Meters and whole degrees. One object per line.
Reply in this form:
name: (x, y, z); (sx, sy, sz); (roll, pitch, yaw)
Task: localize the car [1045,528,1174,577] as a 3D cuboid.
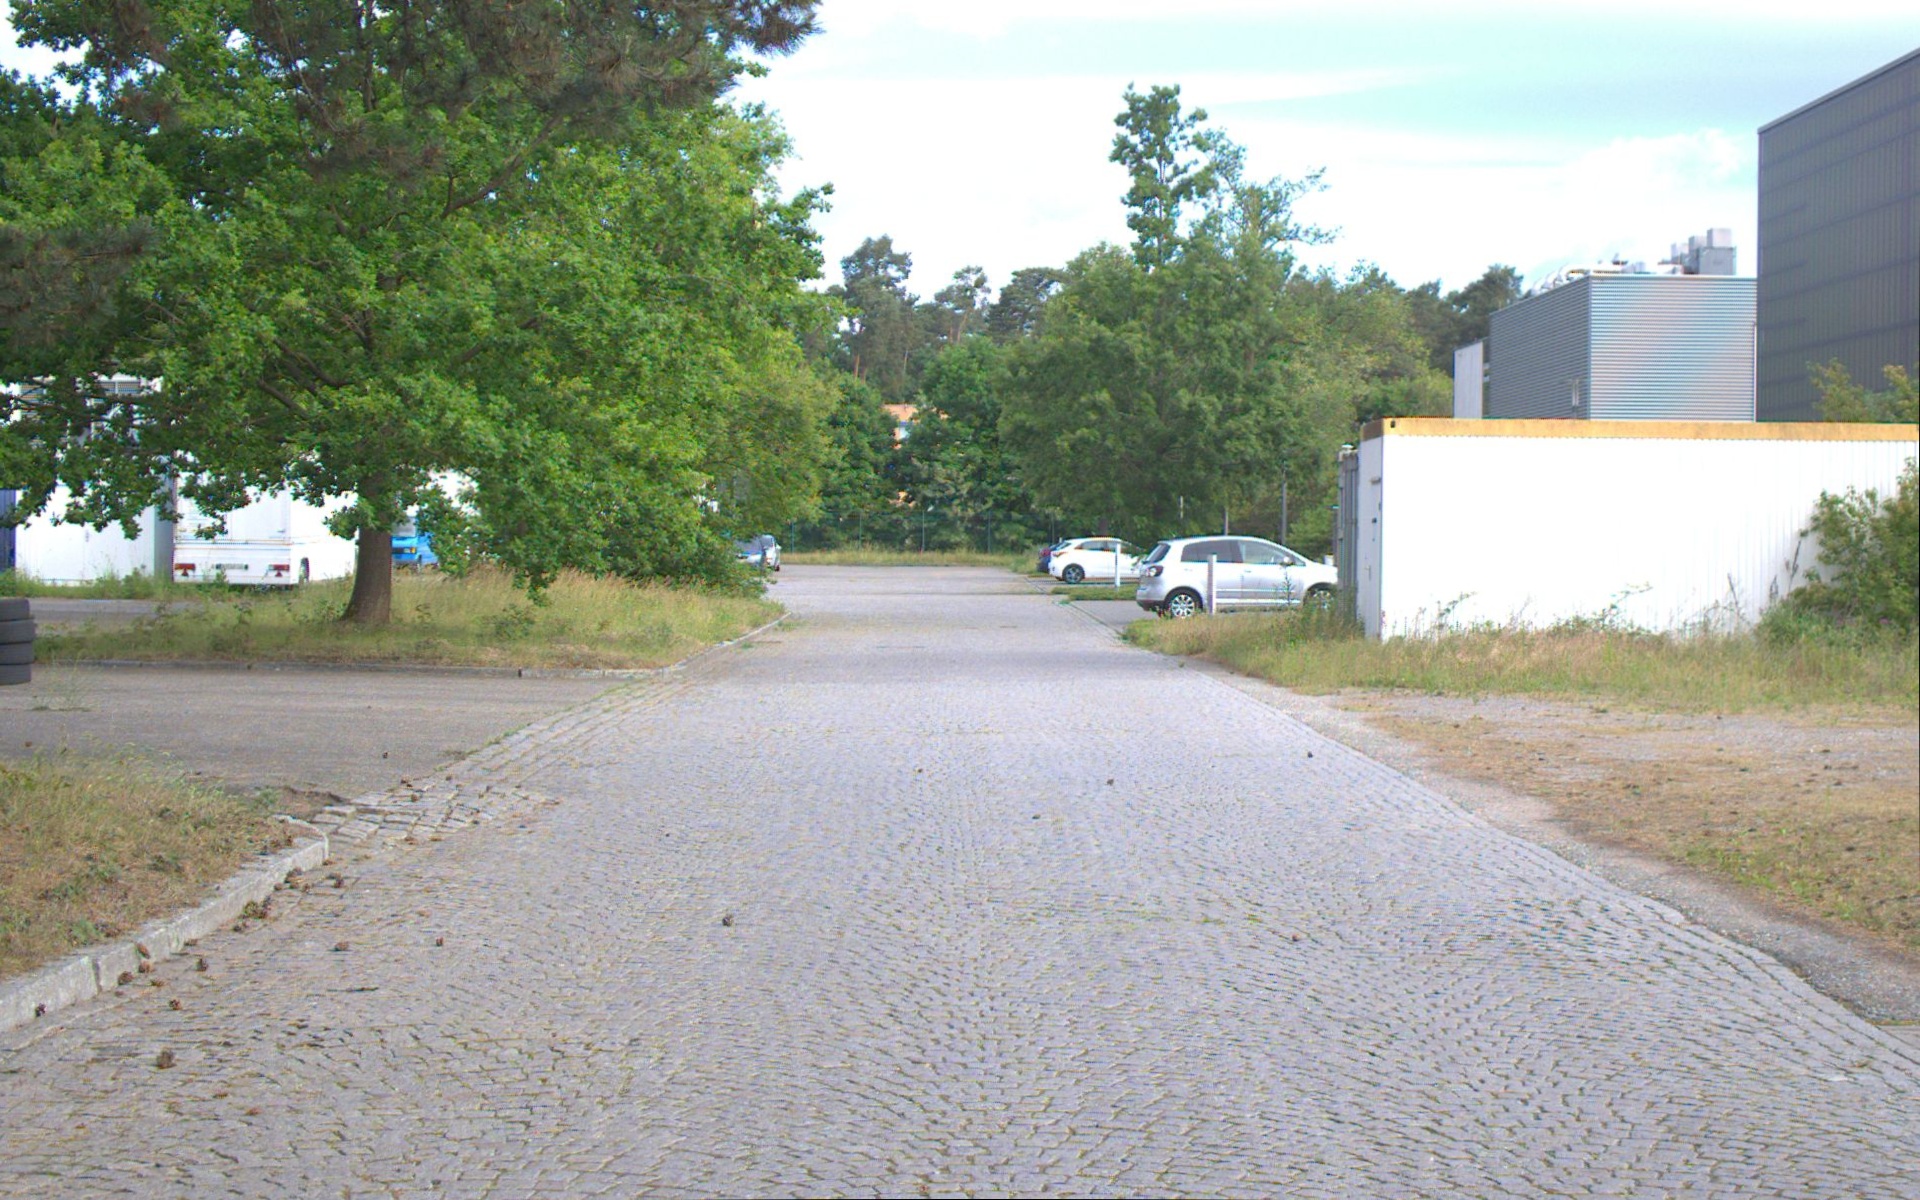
car: (4.753, -1.510, 109.688); (4.025, 1.496, 1.548); (1, 1, 1)

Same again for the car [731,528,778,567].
car: (-8.237, -2.111, 138.041); (1.803, 1.529, 4.001); (1, 1, -3)

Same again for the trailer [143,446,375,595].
trailer: (-15.372, -1.753, 76.107); (3.159, 3.057, 8.784); (1, 1, 1)

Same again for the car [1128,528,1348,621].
car: (5.114, -0.472, 63.544); (3.849, 1.649, 1.686); (1, 1, -3)

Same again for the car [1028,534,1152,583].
car: (4.356, -1.389, 115.245); (3.986, 1.596, 1.729); (1, 1, -3)

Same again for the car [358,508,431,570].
car: (-19.187, -2.091, 116.786); (1.925, 2.040, 4.601); (1, 1, -3)

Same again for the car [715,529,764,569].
car: (-8.235, -1.918, 128.684); (1.735, 1.464, 4.046); (1, 1, -3)
